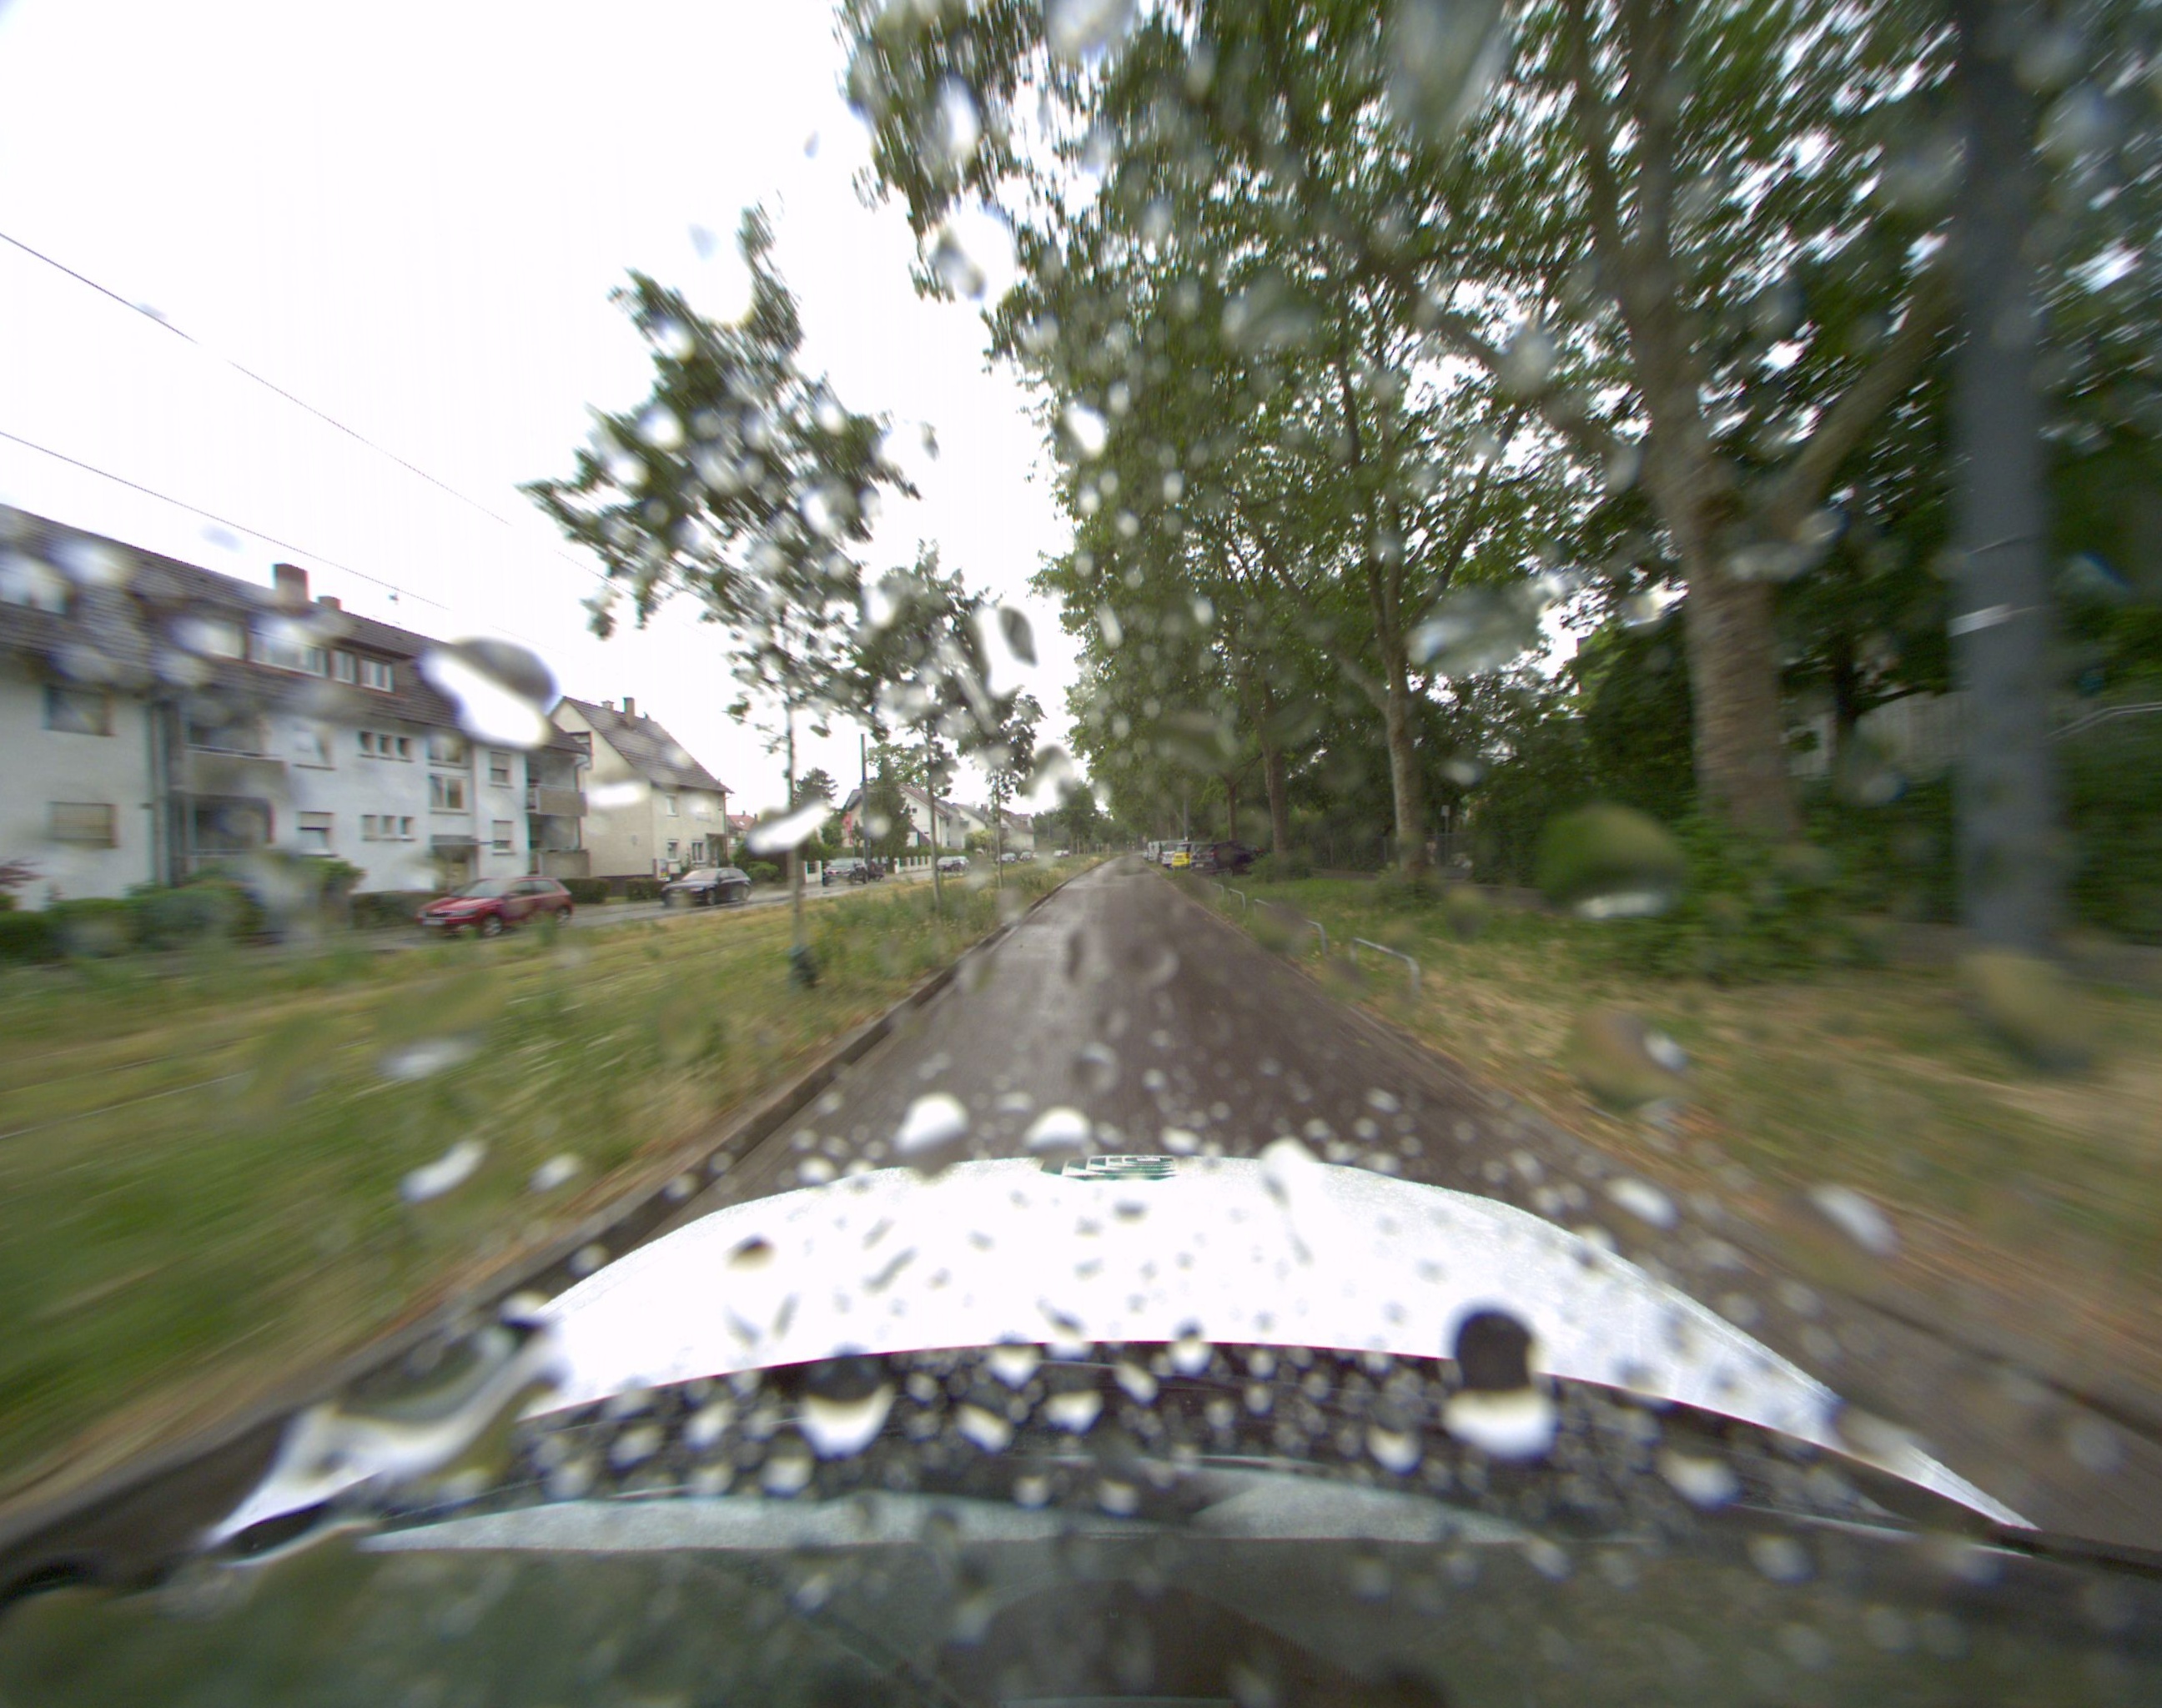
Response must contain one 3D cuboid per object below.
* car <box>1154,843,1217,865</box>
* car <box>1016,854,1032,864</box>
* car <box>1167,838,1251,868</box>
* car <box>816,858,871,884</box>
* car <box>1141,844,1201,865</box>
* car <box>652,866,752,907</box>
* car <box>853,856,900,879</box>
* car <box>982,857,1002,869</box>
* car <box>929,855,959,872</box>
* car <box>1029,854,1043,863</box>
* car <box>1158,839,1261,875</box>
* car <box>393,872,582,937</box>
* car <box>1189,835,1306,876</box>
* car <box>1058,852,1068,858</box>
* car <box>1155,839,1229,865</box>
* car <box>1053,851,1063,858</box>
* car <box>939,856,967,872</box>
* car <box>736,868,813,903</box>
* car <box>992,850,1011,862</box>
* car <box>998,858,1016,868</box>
[{"bbox_3d":[7.412,-0.007,57.741,3.993,1.453,1.990,-1,-1,-14],"label":"car"},{"bbox_3d":[-9.280,0.808,132.773,1.920,1.486,4.004,-1,-1,4],"label":"car"},{"bbox_3d":[6.845,-0.047,43.638,3.993,1.453,1.990,-1,-1,-14],"label":"car"},{"bbox_3d":[-14.333,0.992,49.371,1.920,1.486,4.004,-1,-1,4],"label":"car"},{"bbox_3d":[6.710,0.046,60.639,3.993,1.453,1.990,-1,-1,-14],"label":"car"},{"bbox_3d":[-14.999,1.254,32.482,1.920,1.486,4.004,-1,-1,4],"label":"car"},{"bbox_3d":[-14.000,0.916,55.966,1.920,1.486,4.004,-1,-1,4],"label":"car"},{"bbox_3d":[-11.235,1.130,103.033,1.920,1.486,4.004,-1,-1,4],"label":"car"},{"bbox_3d":[-12.728,0.917,75.819,1.920,1.486,4.004,-1,-1,4],"label":"car"},{"bbox_3d":[-8.012,0.871,144.778,1.920,1.486,4.004,-1,-1,4],"label":"car"},{"bbox_3d":[5.597,0.140,35.593,3.993,1.453,1.990,-1,-1,-14],"label":"car"},{"bbox_3d":[-15.600,1.262,21.707,1.920,1.486,4.004,-1,-1,4],"label":"car"},{"bbox_3d":[6.433,0.070,31.665,3.993,1.453,1.990,-1,-1,-14],"label":"car"},{"bbox_3d":[-4.071,0.247,188.580,1.920,1.486,4.004,-1,-1,4],"label":"car"},{"bbox_3d":[6.739,-0.101,49.387,3.993,1.453,1.990,-1,-1,-14],"label":"car"},{"bbox_3d":[-4.917,0.181,174.615,1.920,1.486,4.004,-1,-1,4],"label":"car"},{"bbox_3d":[-12.691,0.983,80.901,1.920,1.486,4.004,-1,-1,4],"label":"car"},{"bbox_3d":[-14.565,1.465,38.979,1.920,1.486,4.004,-1,-1,4],"label":"car"},{"bbox_3d":[-10.713,0.289,110.486,1.920,1.486,4.004,-1,-1,4],"label":"car"},{"bbox_3d":[-10.427,1.277,115.697,1.920,1.486,4.004,-1,-1,4],"label":"car"}]
